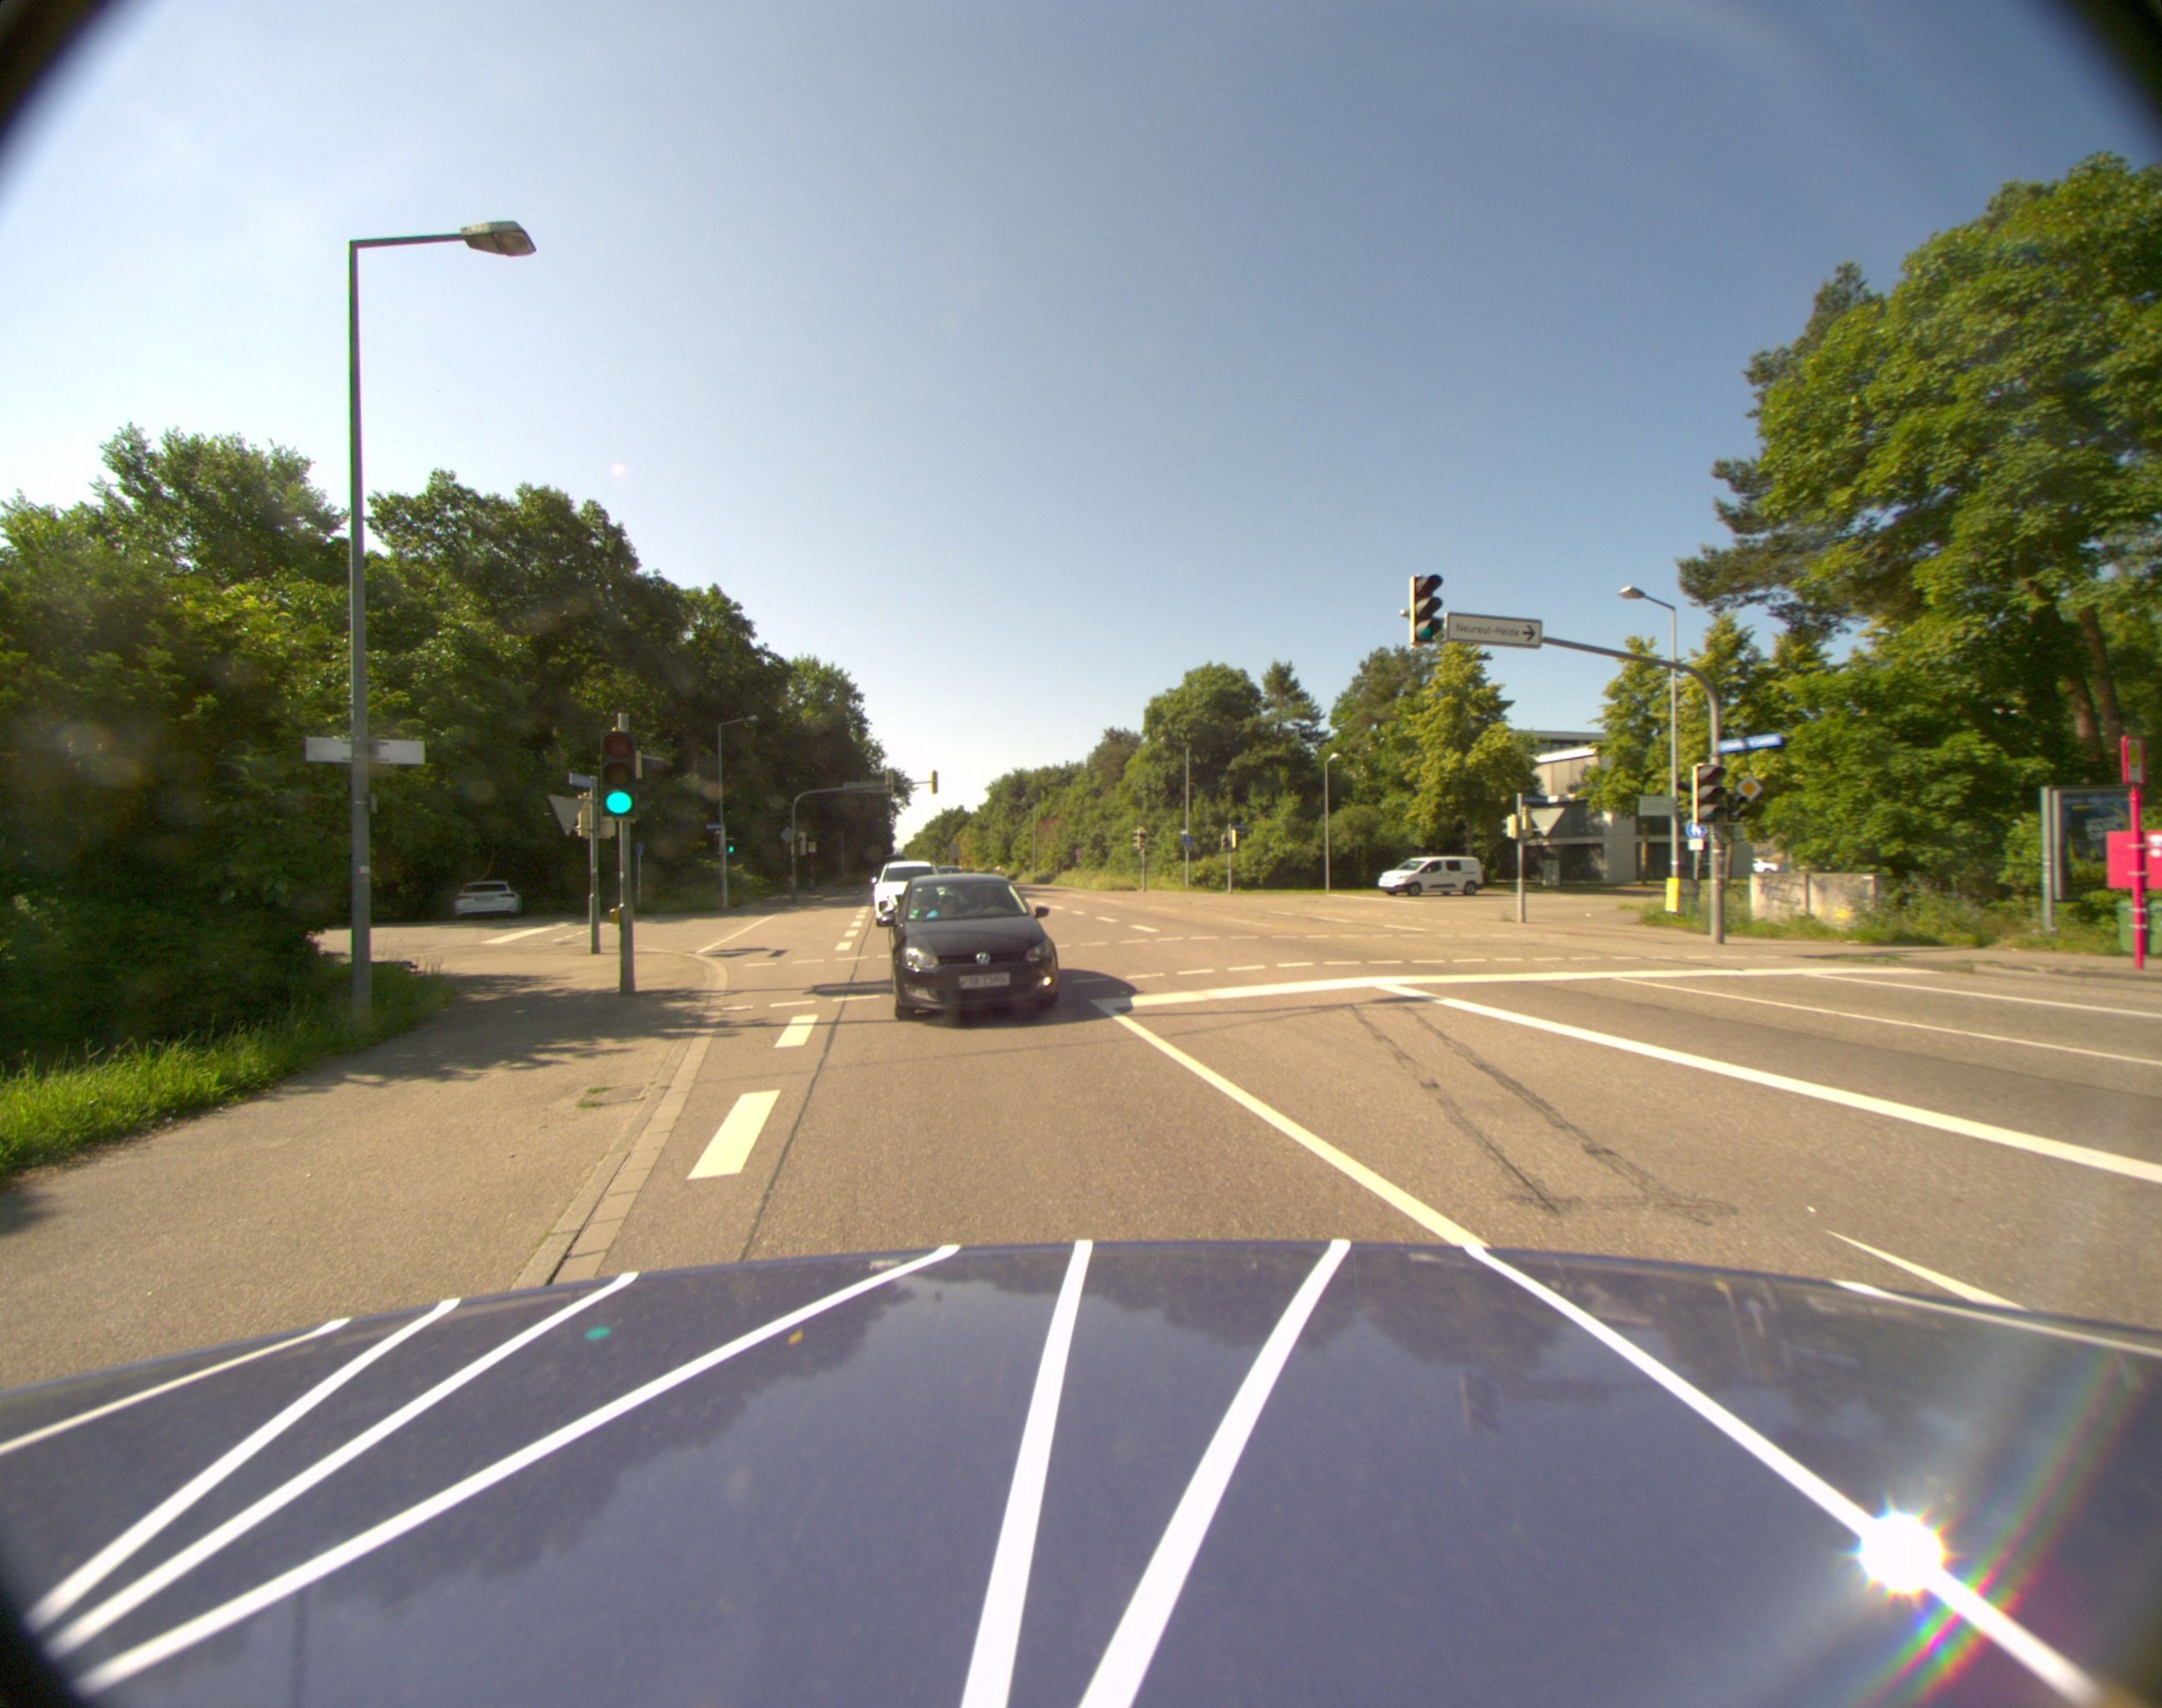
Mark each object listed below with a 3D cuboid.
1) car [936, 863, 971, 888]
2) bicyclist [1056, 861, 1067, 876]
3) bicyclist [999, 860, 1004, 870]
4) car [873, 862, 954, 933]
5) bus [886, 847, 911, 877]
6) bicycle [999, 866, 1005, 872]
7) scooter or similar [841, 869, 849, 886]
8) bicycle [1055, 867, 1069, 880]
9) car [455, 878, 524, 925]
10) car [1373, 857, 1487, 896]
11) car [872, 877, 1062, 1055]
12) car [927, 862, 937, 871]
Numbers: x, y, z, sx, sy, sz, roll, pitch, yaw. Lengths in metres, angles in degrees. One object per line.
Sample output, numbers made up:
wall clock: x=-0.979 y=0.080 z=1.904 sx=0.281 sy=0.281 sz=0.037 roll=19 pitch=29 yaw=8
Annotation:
car: x=-8.051 y=1.336 z=47.590 sx=1.790 sy=1.416 sz=4.418 roll=-3 pitch=0 yaw=-13
bicyclist: x=-1.769 y=1.332 z=68.477 sx=0.724 sy=1.303 sz=0.882 roll=-1 pitch=0 yaw=-16
bicyclist: x=-11.259 y=1.575 z=107.560 sx=0.612 sy=1.458 sz=0.943 roll=-3 pitch=1 yaw=-12
car: x=-4.463 y=1.079 z=20.795 sx=1.814 sy=1.639 sz=4.304 roll=-2 pitch=0 yaw=-9
bus: x=-22.565 y=0.924 z=93.767 sx=2.785 sy=3.437 sz=7.784 roll=-3 pitch=1 yaw=-14
bicycle: x=-11.193 y=2.114 z=107.536 sx=0.606 sy=0.909 sz=2.136 roll=-1 pitch=0 yaw=-12
scooter or similar: x=-18.252 y=1.820 z=58.754 sx=0.401 sy=1.299 sz=1.327 roll=-1 pitch=0 yaw=-28
bicycle: x=-1.714 y=1.731 z=68.348 sx=0.735 sy=1.156 sz=2.369 roll=-1 pitch=0 yaw=-15
car: x=-21.484 y=1.666 z=27.733 sx=1.632 sy=1.455 sz=4.604 roll=-1 pitch=0 yaw=-34
car: x=16.136 y=1.015 z=35.221 sx=4.663 sy=1.767 sz=1.850 roll=0 pitch=0 yaw=-13
car: x=-1.440 y=1.062 z=8.933 sx=1.652 sy=1.422 sz=4.051 roll=-3 pitch=0 yaw=-12
car: x=-29.322 y=2.519 z=149.352 sx=1.797 sy=1.687 sz=4.386 roll=0 pitch=0 yaw=-13
